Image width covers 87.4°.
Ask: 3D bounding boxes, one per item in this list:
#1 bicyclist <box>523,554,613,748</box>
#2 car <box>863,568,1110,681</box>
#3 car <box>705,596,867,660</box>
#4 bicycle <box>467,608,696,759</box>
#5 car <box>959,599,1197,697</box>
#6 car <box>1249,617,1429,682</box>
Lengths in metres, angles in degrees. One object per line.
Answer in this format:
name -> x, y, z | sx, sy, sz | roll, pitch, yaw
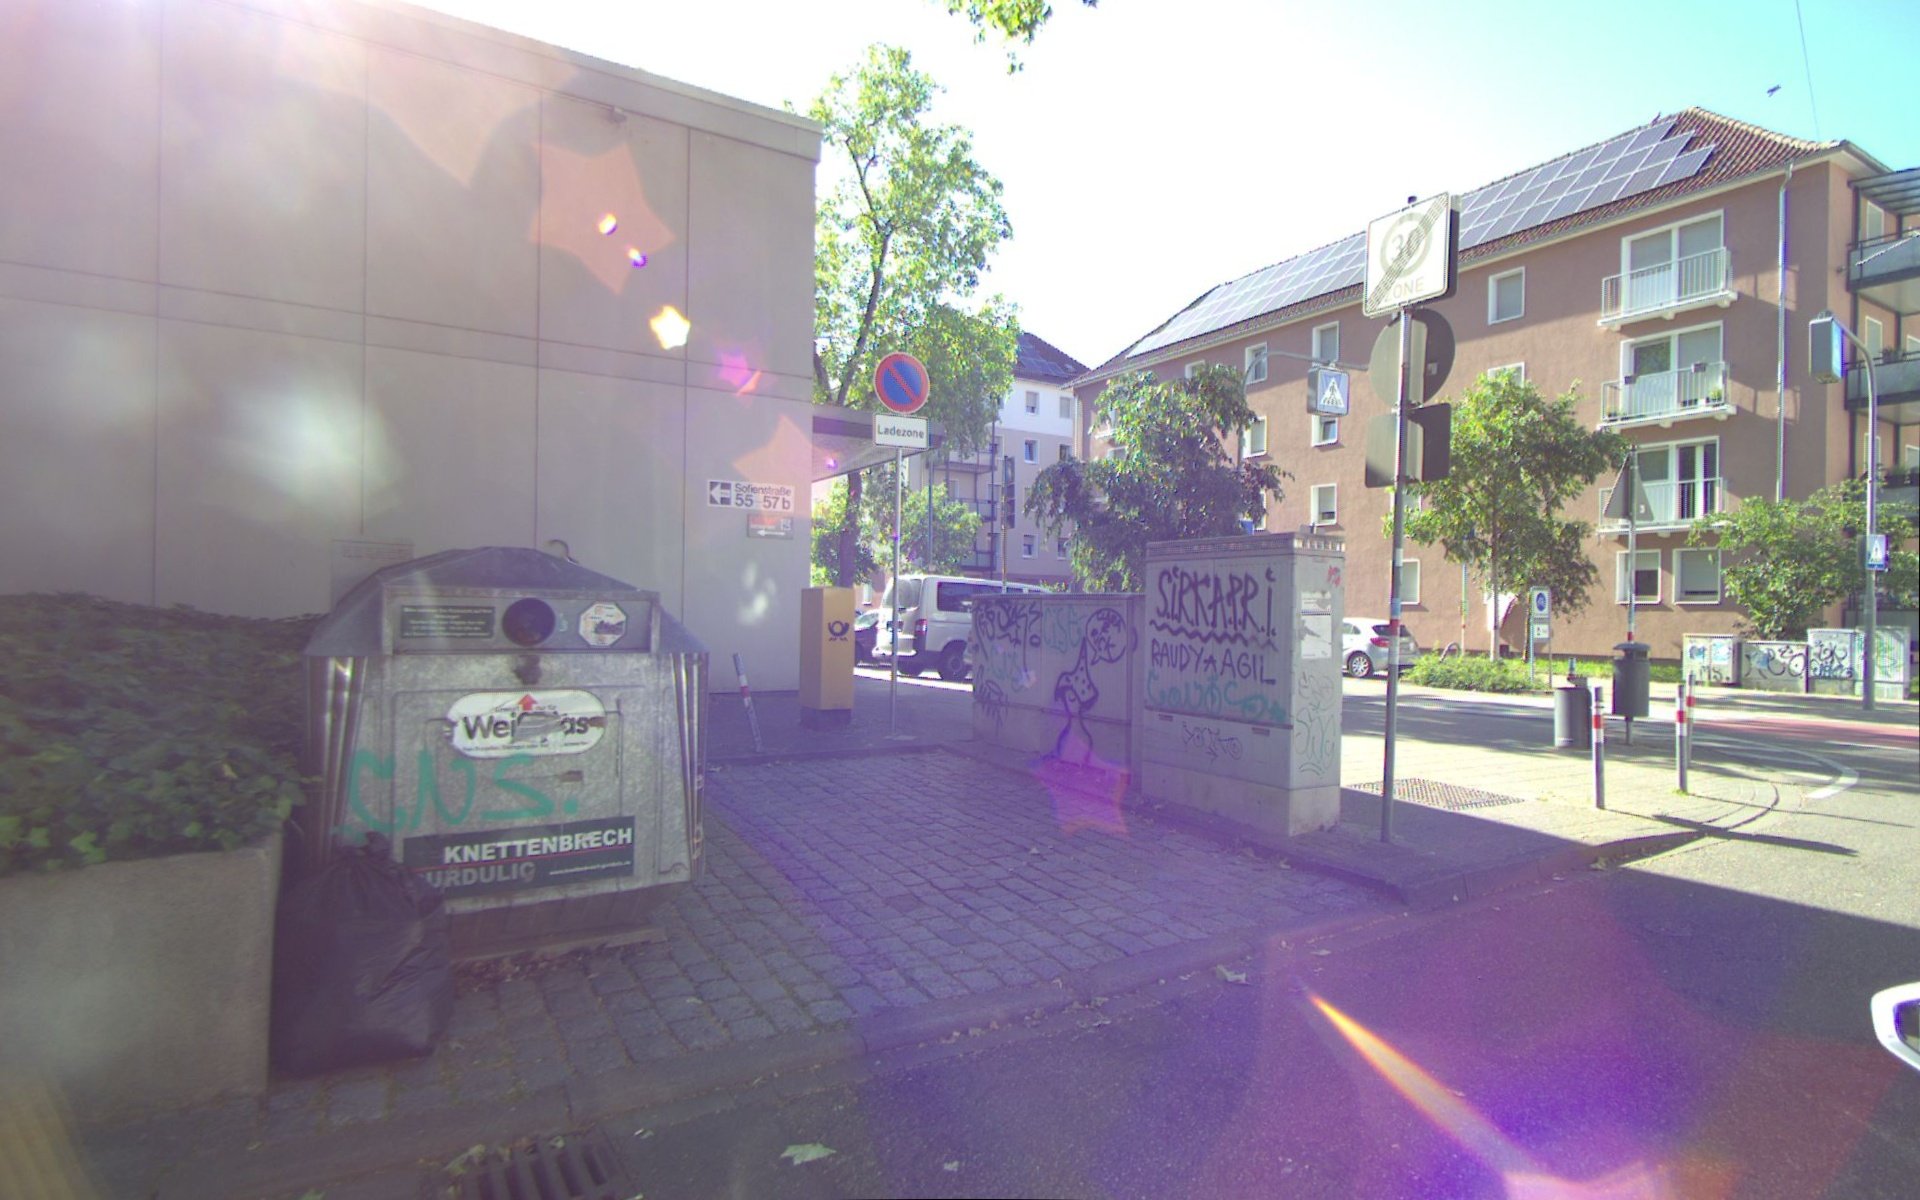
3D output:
bicyclist -> -3.423, 0.427, 8.759 | 0.529, 1.605, 0.698 | 1, -1, -38
car -> 0.587, 0.559, 20.297 | 4.695, 2.032, 1.942 | 3, -2, -33
car -> -5.348, 0.879, 31.054 | 4.590, 1.828, 1.821 | 2, -1, -32
bicycle -> -3.303, 0.676, 8.866 | 1.706, 1.168, 0.794 | 1, 1, -45
car -> 2.242, 0.848, 18.683 | 4.256, 1.634, 1.743 | 1, -1, -32
car -> 9.531, 1.198, 25.583 | 1.726, 1.473, 4.121 | 1, -1, -31
